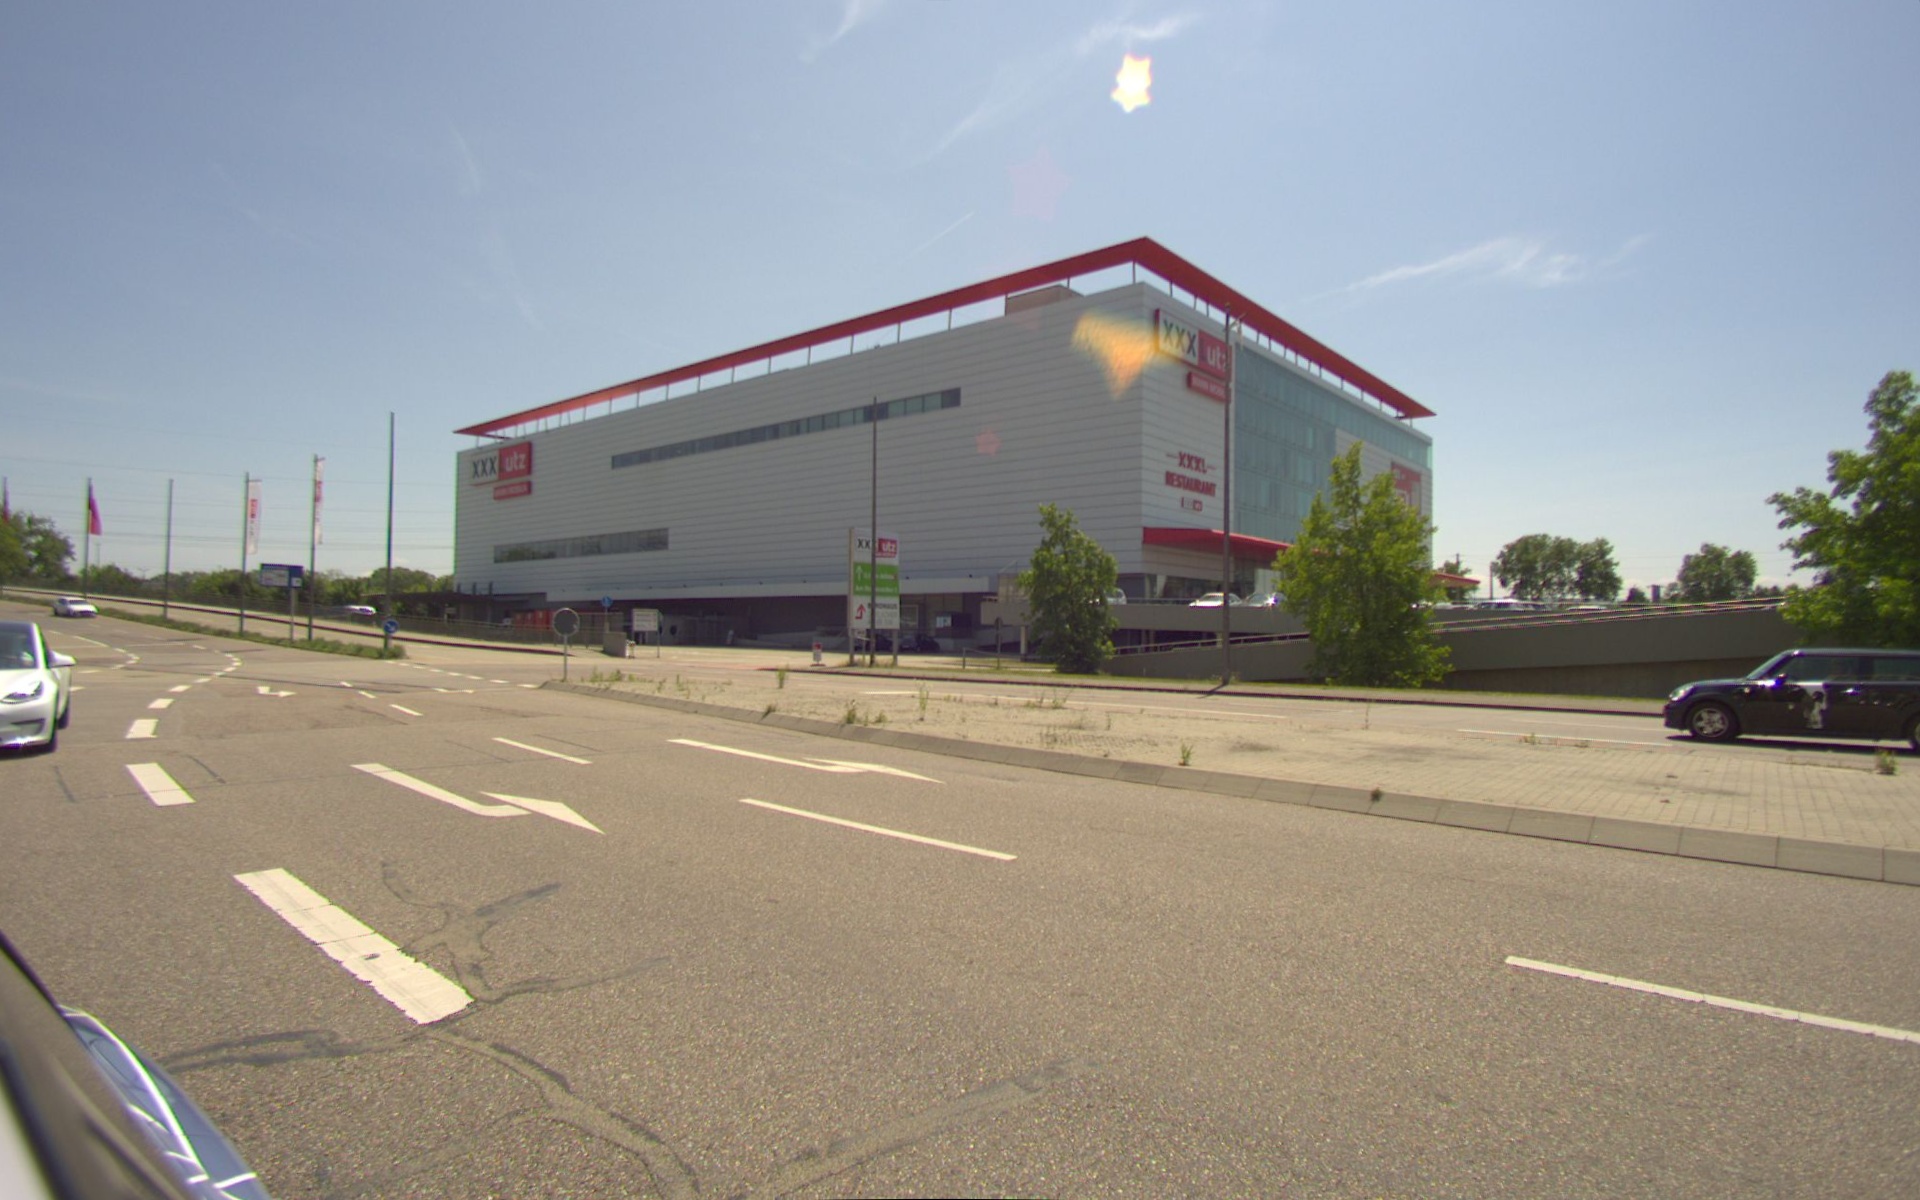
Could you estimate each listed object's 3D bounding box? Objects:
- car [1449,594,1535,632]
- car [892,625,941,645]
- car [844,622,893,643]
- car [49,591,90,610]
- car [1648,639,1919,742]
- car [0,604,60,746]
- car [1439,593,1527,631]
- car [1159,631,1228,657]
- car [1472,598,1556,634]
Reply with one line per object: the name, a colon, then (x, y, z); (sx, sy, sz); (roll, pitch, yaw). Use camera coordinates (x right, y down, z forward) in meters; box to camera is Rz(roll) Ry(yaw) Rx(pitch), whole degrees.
car: (29.899, 0.740, 56.957); (3.996, 2.029, 1.973); (-1, -2, 40)
car: (-3.340, 2.679, 77.989); (1.958, 1.507, 3.439); (-1, -2, 40)
car: (-7.330, 2.612, 81.093); (1.909, 1.632, 3.701); (-1, -2, 38)
car: (-71.801, 0.026, 81.584); (4.224, 1.460, 1.714); (0, 1, 38)
car: (12.384, 1.241, 14.522); (3.895, 1.312, 1.835); (-2, -4, 44)
car: (-11.552, 0.796, 11.563); (1.852, 1.436, 4.411); (1, -2, -42)
car: (28.511, 0.669, 55.216); (3.996, 2.029, 1.973); (-1, -2, 40)
car: (16.646, 3.117, 72.306); (4.405, 1.701, 1.976); (0, -2, 35)
car: (32.030, 0.944, 58.557); (3.996, 2.029, 1.973); (-1, -2, 40)
